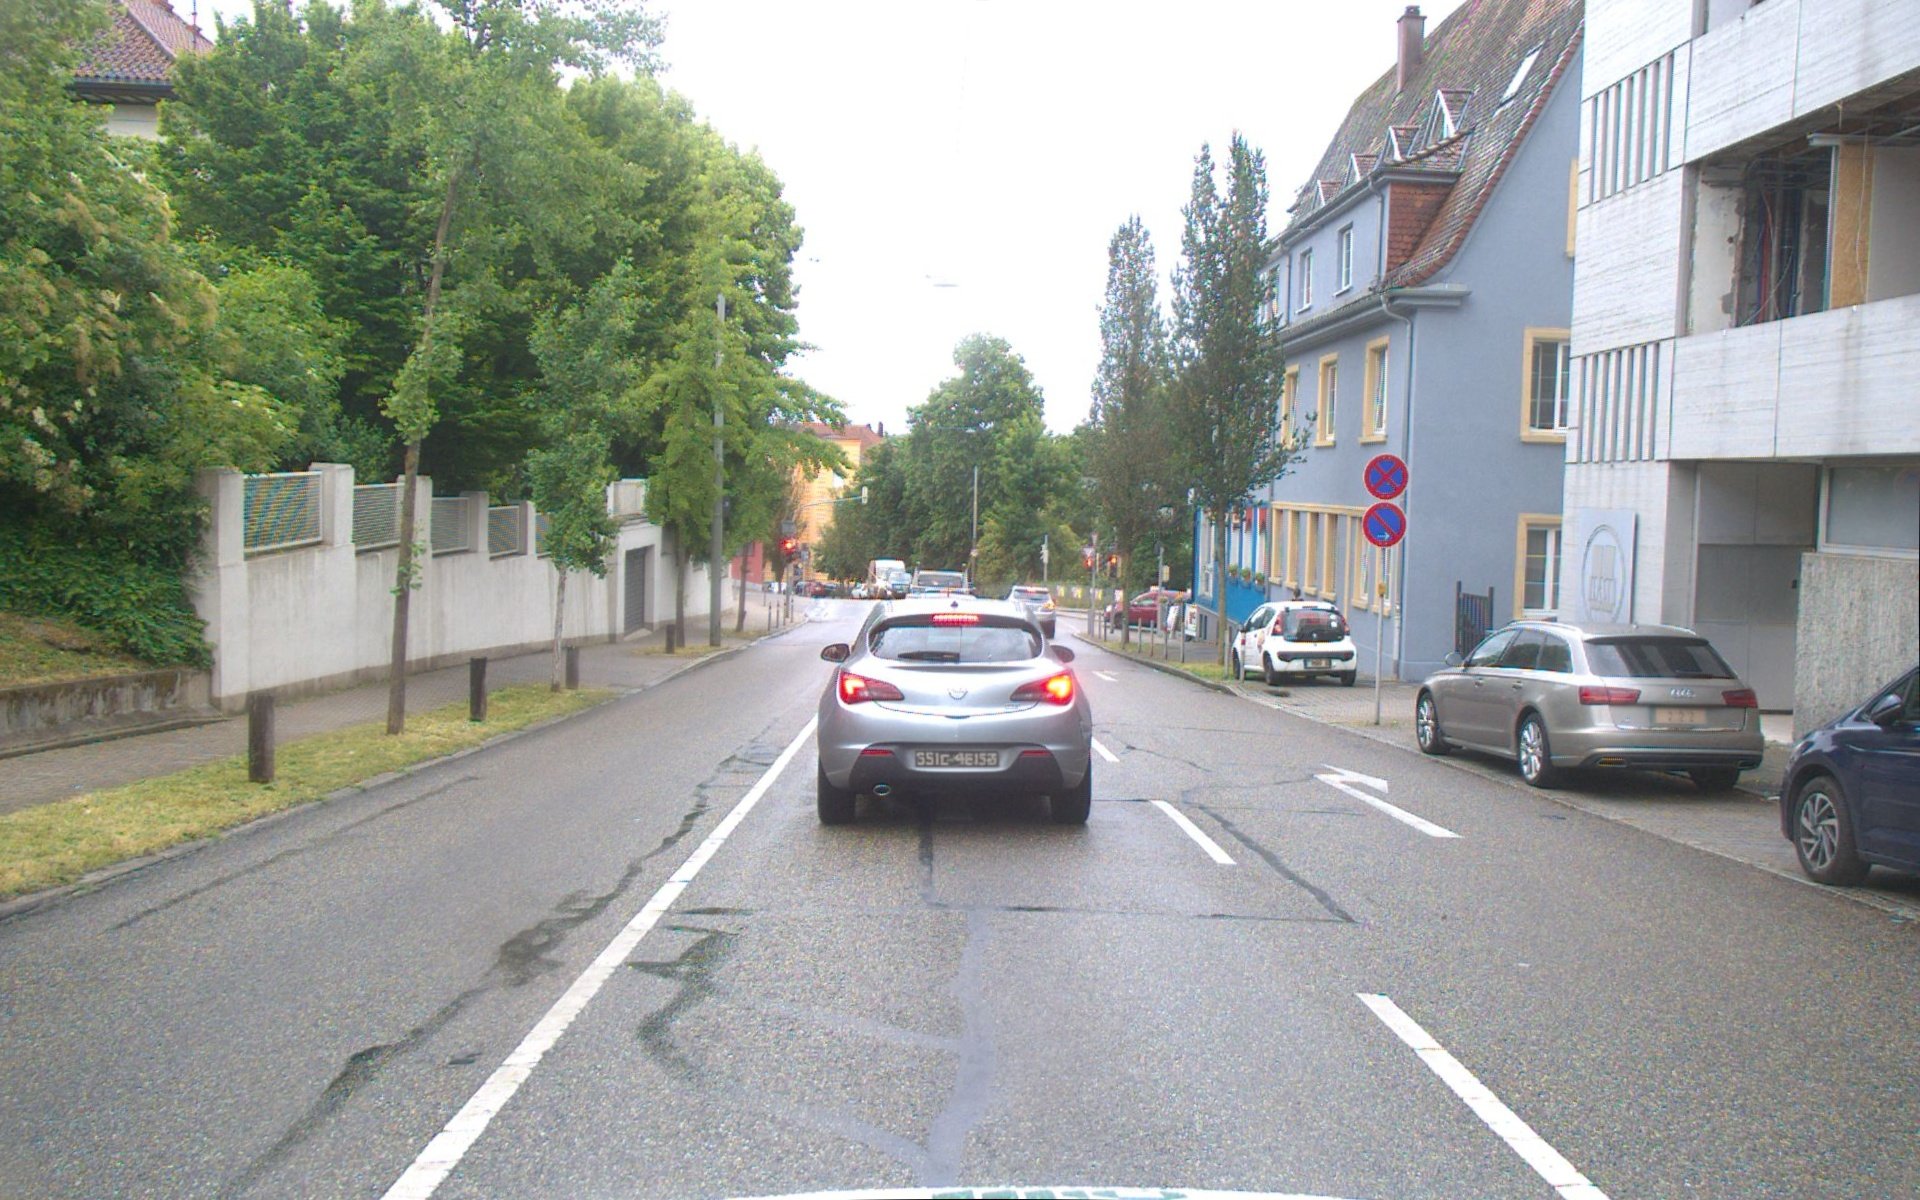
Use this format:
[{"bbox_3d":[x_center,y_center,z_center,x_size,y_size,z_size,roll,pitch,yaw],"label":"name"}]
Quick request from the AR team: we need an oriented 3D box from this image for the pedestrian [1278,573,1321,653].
[{"bbox_3d":[7.634,0.293,37.171,0.767,1.759,0.650,2,0,-1],"label":"pedestrian"}]

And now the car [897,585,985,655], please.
[{"bbox_3d":[-0.496,0.424,39.099,1.922,1.473,4.304,2,1,-2],"label":"car"}]

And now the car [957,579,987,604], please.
[{"bbox_3d":[0.785,-0.574,110.934,1.689,1.666,3.876,0,0,-4],"label":"car"}]

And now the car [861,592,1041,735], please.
[{"bbox_3d":[-0.171,0.694,20.341,1.922,1.473,4.304,2,1,-2],"label":"car"}]

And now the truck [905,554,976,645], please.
[{"bbox_3d":[-0.631,-0.038,49.097,1.922,2.471,4.934,2,0,-2],"label":"truck"}]

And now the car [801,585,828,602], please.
[{"bbox_3d":[-14.069,-0.620,159.893,1.696,1.666,3.859,0,0,-18],"label":"car"}]

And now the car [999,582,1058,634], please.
[{"bbox_3d":[2.323,0.258,57.177,1.688,1.744,3.877,0,0,-3],"label":"car"}]

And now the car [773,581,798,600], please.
[{"bbox_3d":[-14.002,-0.764,132.951,1.688,1.485,3.878,0,0,-2],"label":"car"}]

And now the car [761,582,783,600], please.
[{"bbox_3d":[-18.477,-0.841,162.378,1.692,1.666,3.868,2,0,-12],"label":"car"}]

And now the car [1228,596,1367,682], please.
[{"bbox_3d":[6.202,0.680,30.808,1.688,1.473,3.878,0,0,-2],"label":"car"}]

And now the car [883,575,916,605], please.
[{"bbox_3d":[-3.444,-0.567,94.570,1.833,1.666,3.878,0,0,-2],"label":"car"}]

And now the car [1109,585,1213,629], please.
[{"bbox_3d":[8.776,0.295,72.436,4.353,1.860,1.752,-1,0,0],"label":"car"}]

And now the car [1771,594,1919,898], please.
[{"bbox_3d":[6.027,0.795,8.315,1.694,1.627,4.159,1,0,-3],"label":"car"}]

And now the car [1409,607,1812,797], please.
[{"bbox_3d":[5.991,0.857,15.923,1.923,1.473,4.524,1,1,-3],"label":"car"}]

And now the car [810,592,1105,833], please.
[{"bbox_3d":[-0.099,0.688,12.144,1.800,1.459,3.878,1,0,-3],"label":"car"}]

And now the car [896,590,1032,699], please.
[{"bbox_3d":[-0.015,0.633,26.065,1.922,1.473,4.304,2,1,-2],"label":"car"}]

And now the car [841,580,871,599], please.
[{"bbox_3d":[-8.879,-0.885,141.215,1.696,1.570,3.859,0,0,-18],"label":"car"}]

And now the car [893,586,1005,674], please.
[{"bbox_3d":[-0.267,0.519,31.442,1.922,1.473,4.304,2,1,-2],"label":"car"}]

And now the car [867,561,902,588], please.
[{"bbox_3d":[-4.690,-1.553,102.188,1.691,1.666,3.871,0,0,-10],"label":"car"}]
